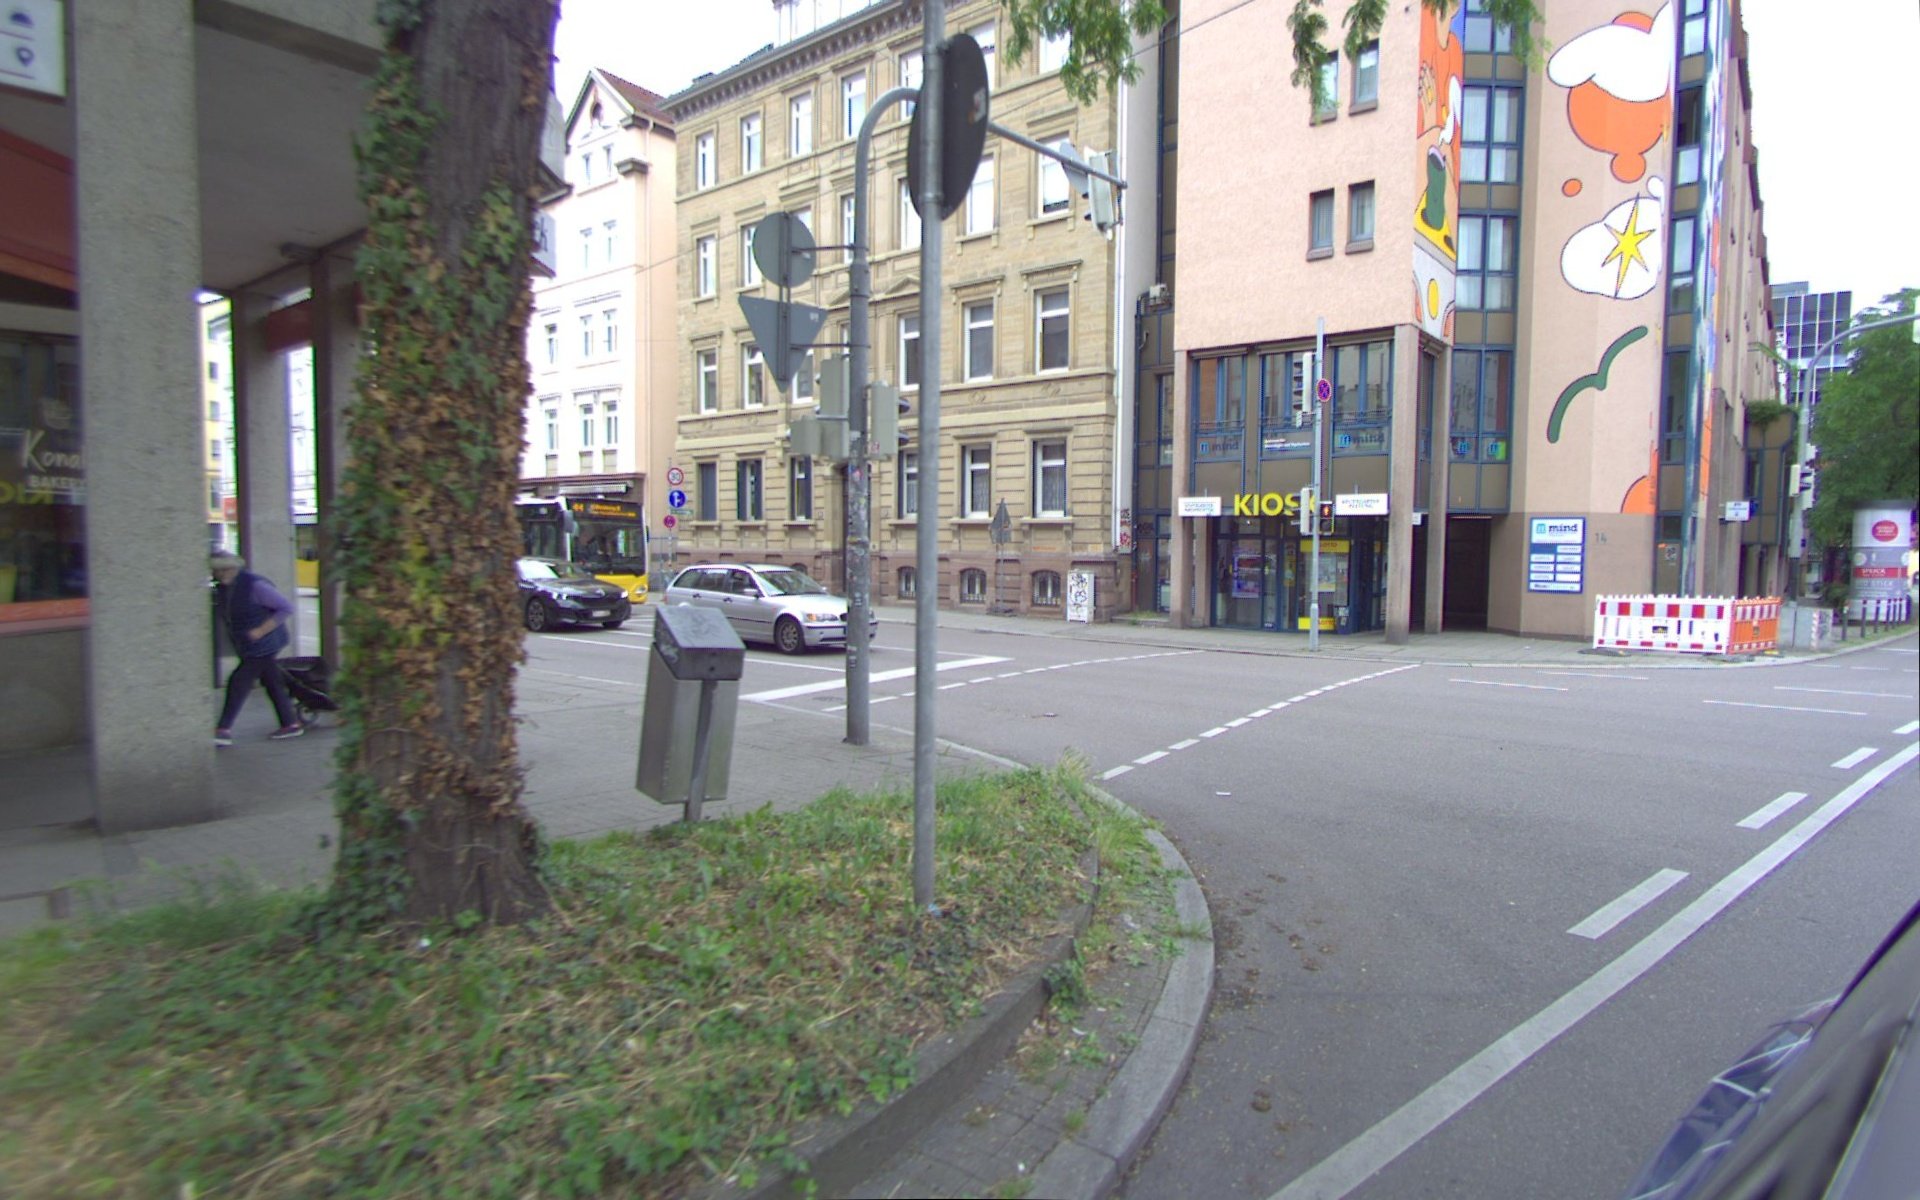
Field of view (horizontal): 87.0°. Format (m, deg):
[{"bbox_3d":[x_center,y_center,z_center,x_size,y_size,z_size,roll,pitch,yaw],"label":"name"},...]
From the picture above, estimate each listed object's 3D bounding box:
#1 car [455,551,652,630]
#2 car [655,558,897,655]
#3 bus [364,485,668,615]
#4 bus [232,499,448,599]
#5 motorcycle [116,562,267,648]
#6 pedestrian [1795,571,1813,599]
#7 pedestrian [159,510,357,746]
[{"bbox_3d":[-8.686,-0.266,21.511,4.245,1.507,1.974,2,2,37],"label":"car"},{"bbox_3d":[-3.262,0.031,17.576,4.137,1.446,1.830,2,2,37],"label":"car"},{"bbox_3d":[-13.014,-1.417,28.815,11.531,3.080,2.836,2,2,38],"label":"bus"},{"bbox_3d":[-22.144,-1.778,35.739,11.293,3.074,2.680,2,2,37],"label":"bus"},{"bbox_3d":[-12.831,0.037,16.886,2.637,1.313,1.140,2,2,31],"label":"motorcycle"},{"bbox_3d":[53.777,-0.956,64.477,0.676,1.732,0.710,1,1,-42],"label":"pedestrian"},{"bbox_3d":[-5.515,0.211,8.041,0.839,1.735,1.127,1,-1,-7],"label":"pedestrian"}]
